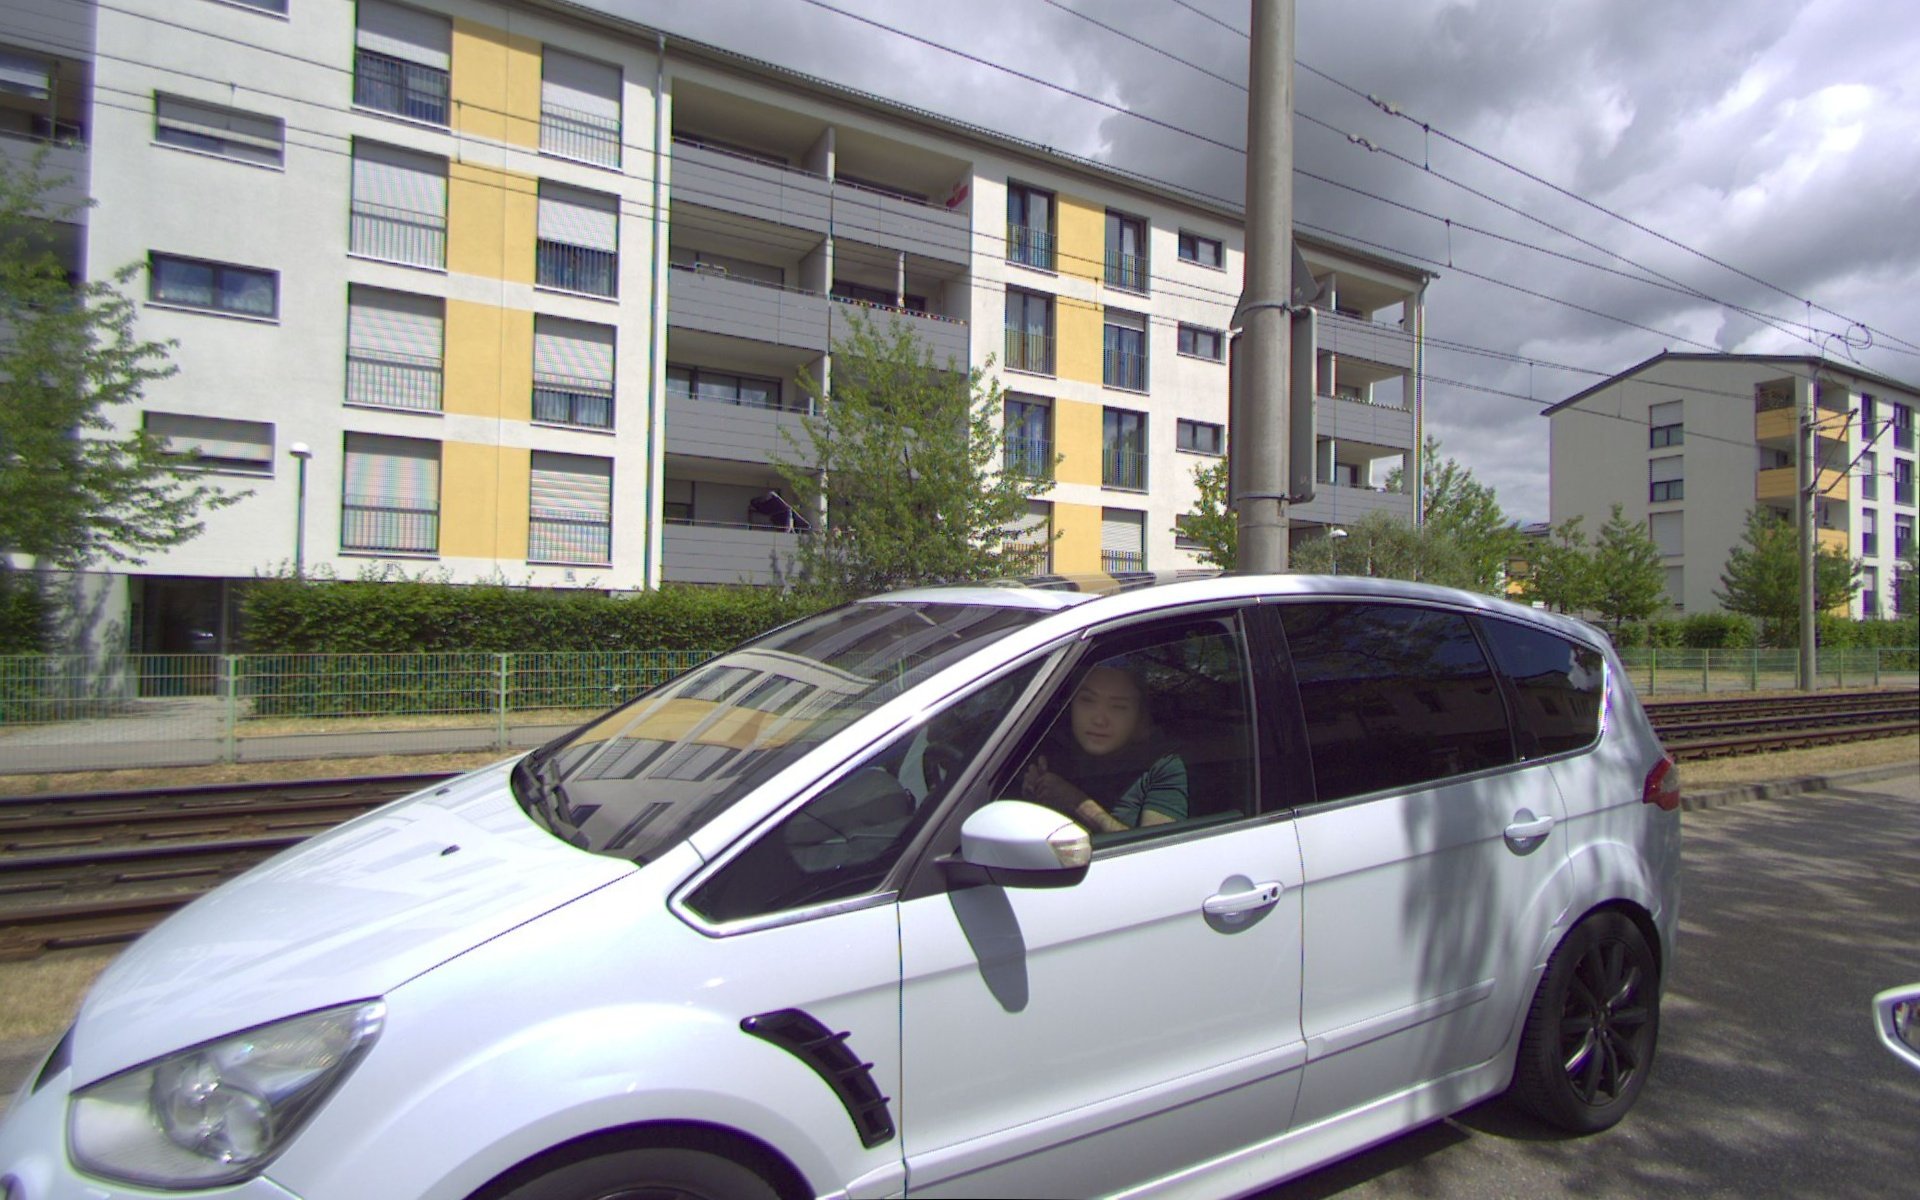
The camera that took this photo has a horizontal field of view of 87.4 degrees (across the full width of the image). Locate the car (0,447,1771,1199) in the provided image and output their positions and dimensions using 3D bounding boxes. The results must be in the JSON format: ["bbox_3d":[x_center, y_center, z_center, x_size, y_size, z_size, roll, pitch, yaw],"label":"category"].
[{"bbox_3d":[0.267,0.691,2.959,4.548,1.635,1.808,1,0,-30],"label":"car"}]

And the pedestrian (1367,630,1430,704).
[{"bbox_3d":[9.311,1.407,21.329,0.984,1.503,0.792,1,-1,-30],"label":"pedestrian"}]
